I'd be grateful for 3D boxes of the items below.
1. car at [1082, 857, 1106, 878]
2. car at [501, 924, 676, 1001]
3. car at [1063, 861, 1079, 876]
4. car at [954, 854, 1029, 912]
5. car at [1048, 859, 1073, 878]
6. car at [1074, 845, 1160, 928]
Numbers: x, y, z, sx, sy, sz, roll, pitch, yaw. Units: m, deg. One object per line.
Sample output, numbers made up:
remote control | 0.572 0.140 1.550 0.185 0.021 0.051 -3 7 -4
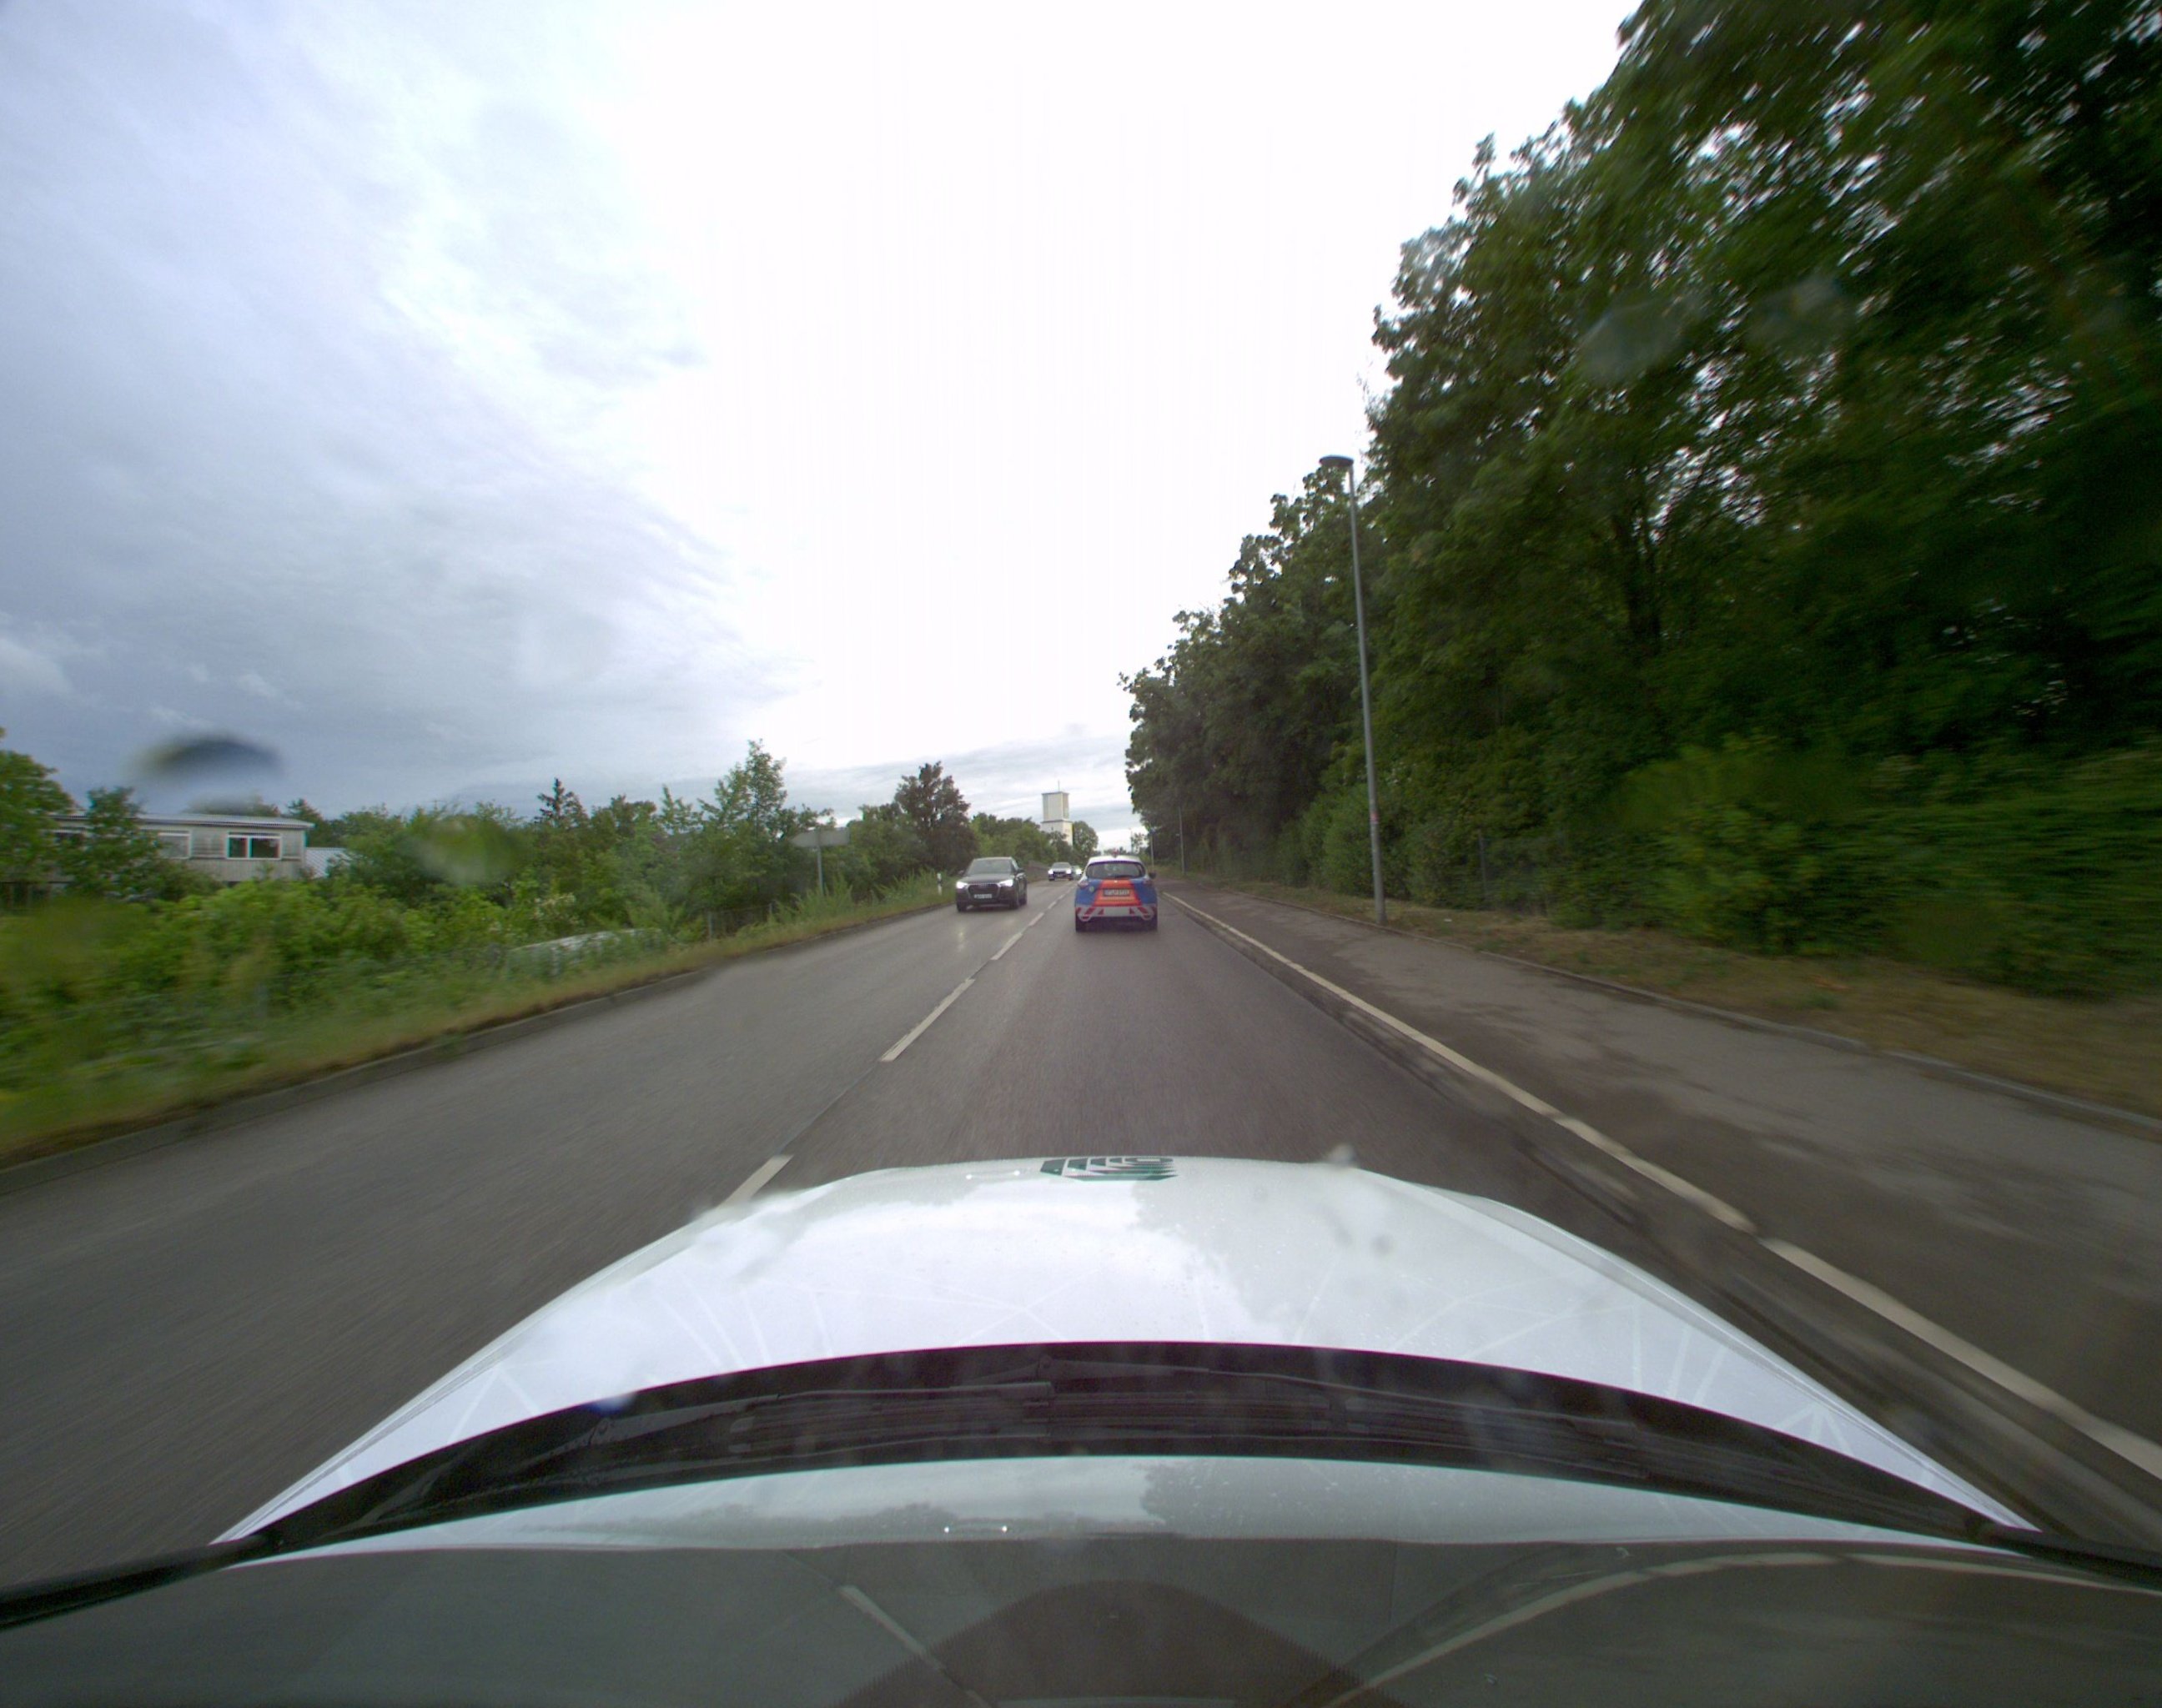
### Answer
car | 1.086 1.104 68.048 1.796 1.590 3.563 -3 -1 1
car | -13.492 2.933 22.623 1.640 1.523 4.083 -4 -1 15
car | -1.147 1.664 94.328 1.724 1.585 4.081 -2 -1 1
car | -2.805 0.861 26.353 1.862 1.585 4.415 0 1 1
car | -1.653 1.183 68.325 1.855 1.503 4.729 -2 -1 1
car | 0.759 0.688 18.029 1.651 1.593 3.569 -2 -1 1
